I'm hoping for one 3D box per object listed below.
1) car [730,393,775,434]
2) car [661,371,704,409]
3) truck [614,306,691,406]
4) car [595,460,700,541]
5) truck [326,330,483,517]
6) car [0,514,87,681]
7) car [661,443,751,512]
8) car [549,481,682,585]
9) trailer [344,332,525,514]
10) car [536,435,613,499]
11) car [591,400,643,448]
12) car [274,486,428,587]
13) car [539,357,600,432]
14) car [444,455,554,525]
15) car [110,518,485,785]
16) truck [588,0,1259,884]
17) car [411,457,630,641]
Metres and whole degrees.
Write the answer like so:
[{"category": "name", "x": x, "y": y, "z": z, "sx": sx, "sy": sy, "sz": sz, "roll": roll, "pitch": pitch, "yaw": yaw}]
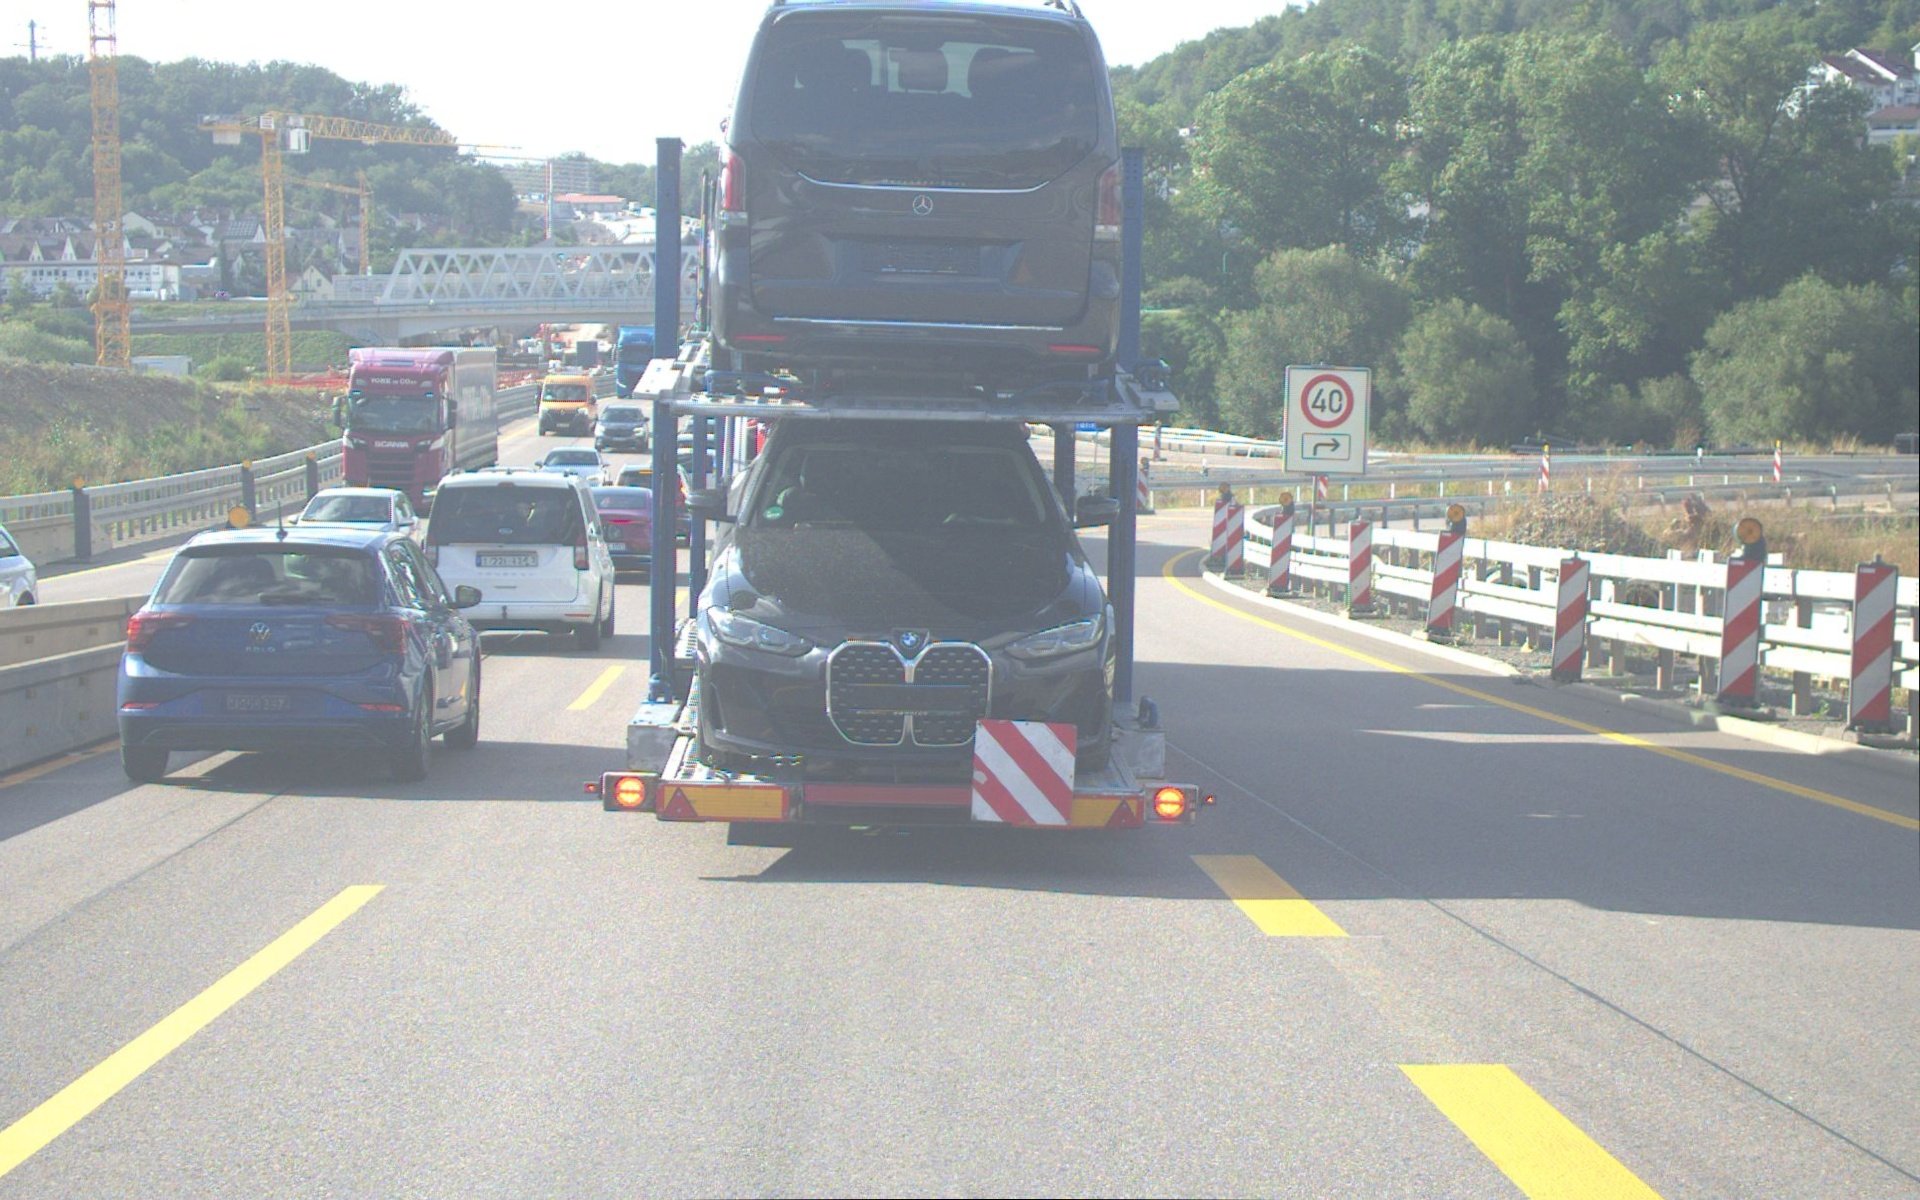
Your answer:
[{"category": "car", "x": -9.066, "y": -8.107, "z": 149.944, "sx": 1.844, "sy": 1.642, "sz": 4.506, "roll": 1, "pitch": 1, "yaw": -4}, {"category": "car", "x": -13.830, "y": -10.477, "z": 171.415, "sx": 1.993, "sy": 1.678, "sz": 4.001, "roll": 1, "pitch": 1, "yaw": -3}, {"category": "truck", "x": -17.533, "y": -13.866, "z": 196.710, "sx": 2.822, "sy": 4.772, "sz": 13.054, "roll": 1, "pitch": 0, "yaw": 1}, {"category": "car", "x": -6.262, "y": -2.010, "z": 69.201, "sx": 1.993, "sy": 1.546, "sz": 4.001, "roll": 1, "pitch": 2, "yaw": -4}, {"category": "truck", "x": -13.722, "y": -4.315, "z": 85.360, "sx": 2.914, "sy": 4.372, "sz": 6.287, "roll": 2, "pitch": 2, "yaw": -1}, {"category": "car", "x": -9.259, "y": -0.031, "z": 29.719, "sx": 1.853, "sy": 1.435, "sz": 4.558, "roll": 1, "pitch": 1, "yaw": 6}, {"category": "car", "x": -6.410, "y": -3.095, "z": 87.007, "sx": 1.993, "sy": 1.660, "sz": 4.001, "roll": 1, "pitch": 2, "yaw": -1}, {"category": "car", "x": -5.432, "y": -1.029, "z": 54.614, "sx": 1.993, "sy": 1.551, "sz": 4.402, "roll": 1, "pitch": 0, "yaw": -5}, {"category": "trailer", "x": -13.923, "y": -4.621, "z": 92.313, "sx": 2.976, "sy": 4.407, "sz": 13.818, "roll": 2, "pitch": 2, "yaw": -2}, {"category": "car", "x": -10.421, "y": -3.591, "z": 93.123, "sx": 1.844, "sy": 1.642, "sz": 4.506, "roll": 1, "pitch": 1, "yaw": -4}, {"category": "car", "x": -12.574, "y": -6.459, "z": 126.349, "sx": 1.844, "sy": 1.642, "sz": 4.237, "roll": 1, "pitch": 1, "yaw": -5}, {"category": "car", "x": -9.141, "y": -0.969, "z": 51.867, "sx": 1.754, "sy": 1.435, "sz": 3.805, "roll": 1, "pitch": 1, "yaw": -2}, {"category": "car", "x": -15.934, "y": -8.358, "z": 140.479, "sx": 1.993, "sy": 2.869, "sz": 6.065, "roll": 1, "pitch": 2, "yaw": -2}, {"category": "car", "x": -9.936, "y": -2.372, "z": 74.314, "sx": 1.821, "sy": 1.435, "sz": 4.614, "roll": 1, "pitch": 1, "yaw": -1}, {"category": "car", "x": -3.881, "y": 0.233, "z": 20.714, "sx": 1.722, "sy": 1.417, "sz": 4.001, "roll": 0, "pitch": 2, "yaw": -4}, {"category": "truck", "x": -0.541, "y": -1.078, "z": 23.589, "sx": 2.753, "sy": 3.941, "sz": 18.893, "roll": 0, "pitch": 2, "yaw": -2}, {"category": "car", "x": -4.540, "y": -0.511, "z": 36.050, "sx": 1.823, "sy": 1.786, "sz": 4.000, "roll": 1, "pitch": 0, "yaw": -1}]
